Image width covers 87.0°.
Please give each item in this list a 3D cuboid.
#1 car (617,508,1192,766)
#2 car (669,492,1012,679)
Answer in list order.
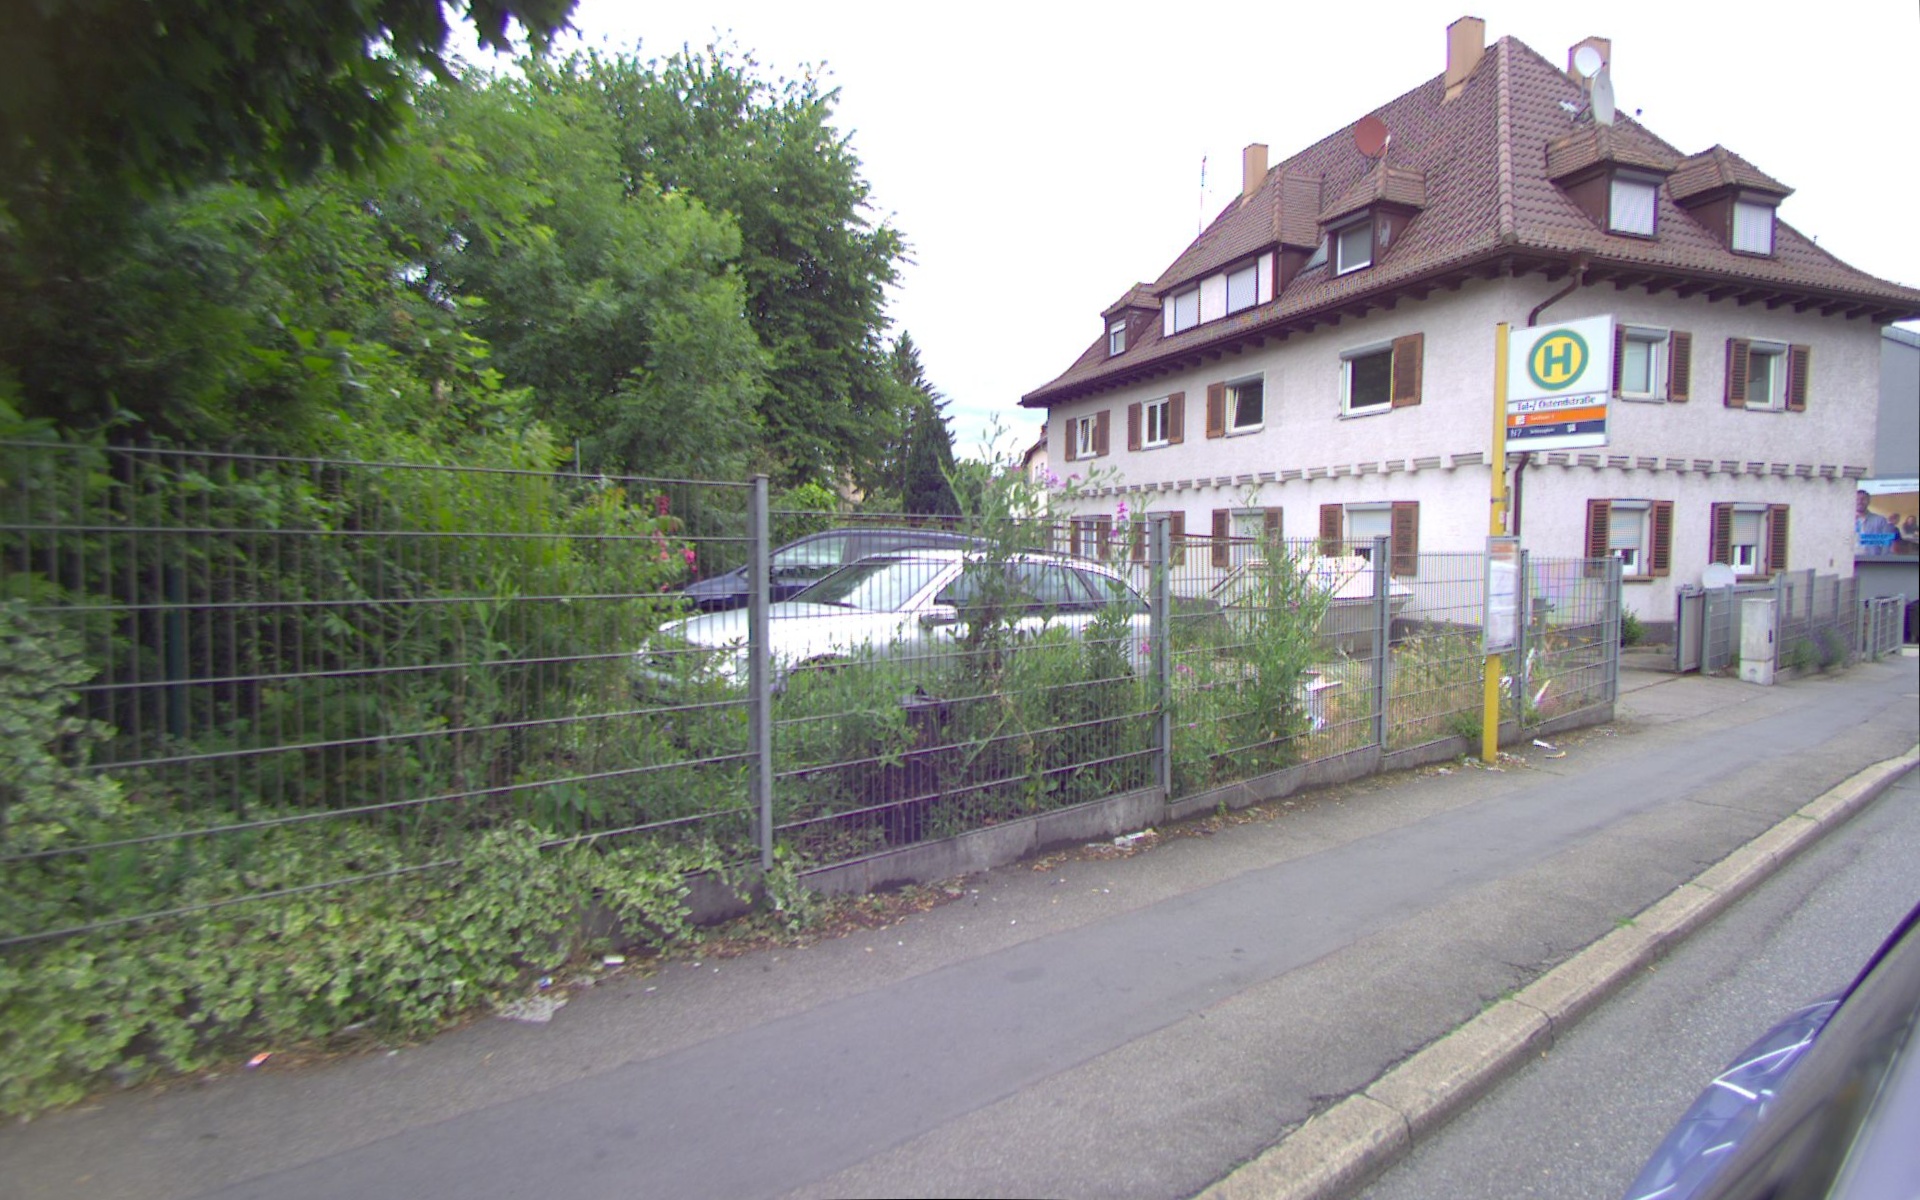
[{"bbox_3d":[-0.208,0.157,7.744,4.193,1.439,1.801,0,3,-43],"label":"car"},{"bbox_3d":[-1.380,-0.203,12.664,3.925,2.038,2.000,2,2,1],"label":"car"}]
